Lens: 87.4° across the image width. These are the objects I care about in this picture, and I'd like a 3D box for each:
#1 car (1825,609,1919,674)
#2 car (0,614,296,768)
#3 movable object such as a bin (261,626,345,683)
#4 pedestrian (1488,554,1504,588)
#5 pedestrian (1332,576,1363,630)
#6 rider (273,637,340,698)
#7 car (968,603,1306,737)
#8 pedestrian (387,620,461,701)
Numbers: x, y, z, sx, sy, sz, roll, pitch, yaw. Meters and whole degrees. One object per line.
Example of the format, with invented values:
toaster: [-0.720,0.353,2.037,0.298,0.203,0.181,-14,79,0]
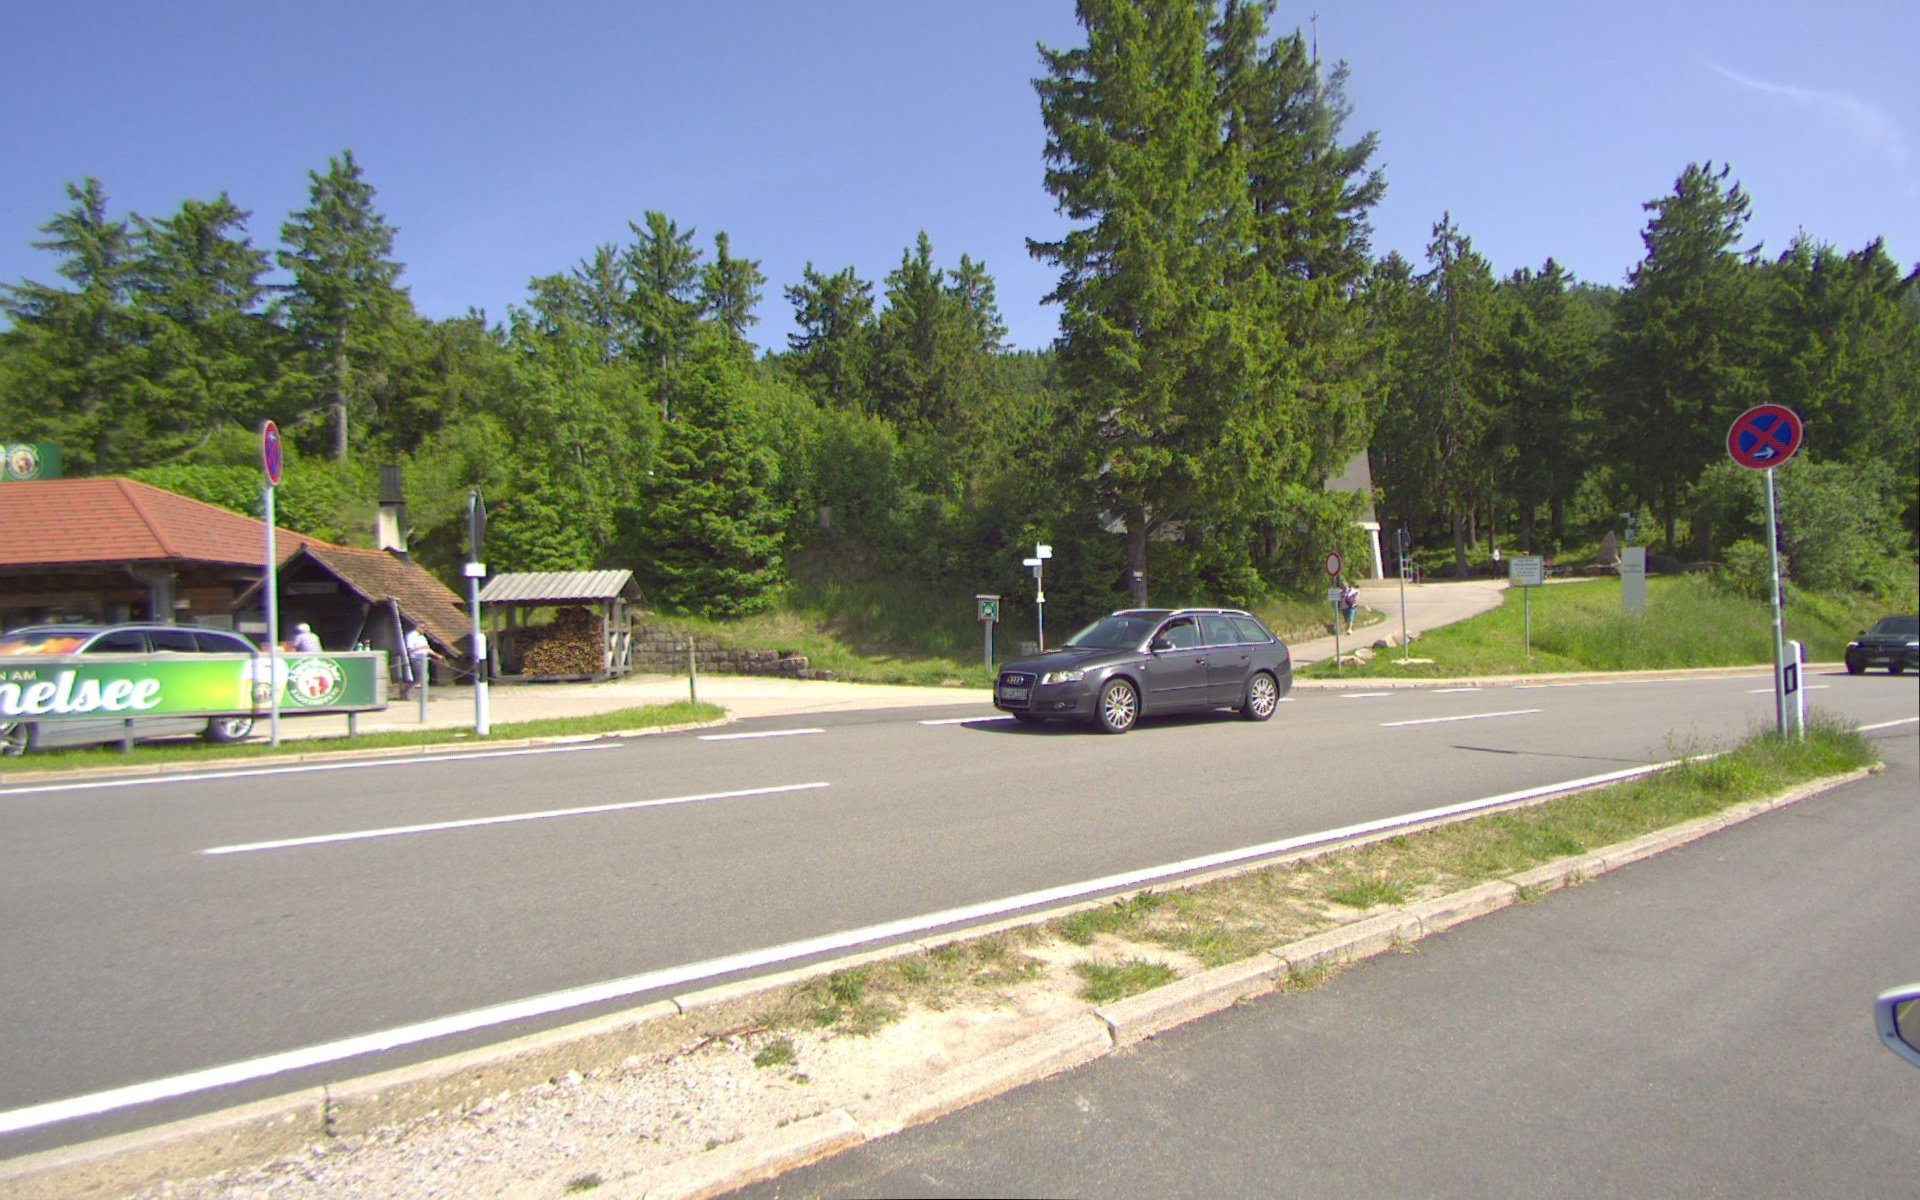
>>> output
car: [26.047,1.109,27.730,4.515,1.669,1.983,1,-2,-32]
car: [-9.728,0.925,10.977,1.687,1.449,4.506,-1,-2,5]
movable object such as a bin: [-14.303,1.177,21.879,1.192,1.204,0.984,-1,-1,14]
pedestrian: [30.236,-1.639,56.638,0.531,1.902,0.683,0,-1,0]
pedestrian: [12.456,0.099,32.286,0.712,1.703,0.679,-2,-2,43]
rider: [-14.228,1.464,21.874,0.891,1.291,0.840,-1,-1,14]
car: [2.367,0.812,12.917,4.406,1.457,1.695,1,-2,-36]
pedestrian: [-11.853,1.323,22.233,1.140,1.721,0.978,0,-2,-5]
